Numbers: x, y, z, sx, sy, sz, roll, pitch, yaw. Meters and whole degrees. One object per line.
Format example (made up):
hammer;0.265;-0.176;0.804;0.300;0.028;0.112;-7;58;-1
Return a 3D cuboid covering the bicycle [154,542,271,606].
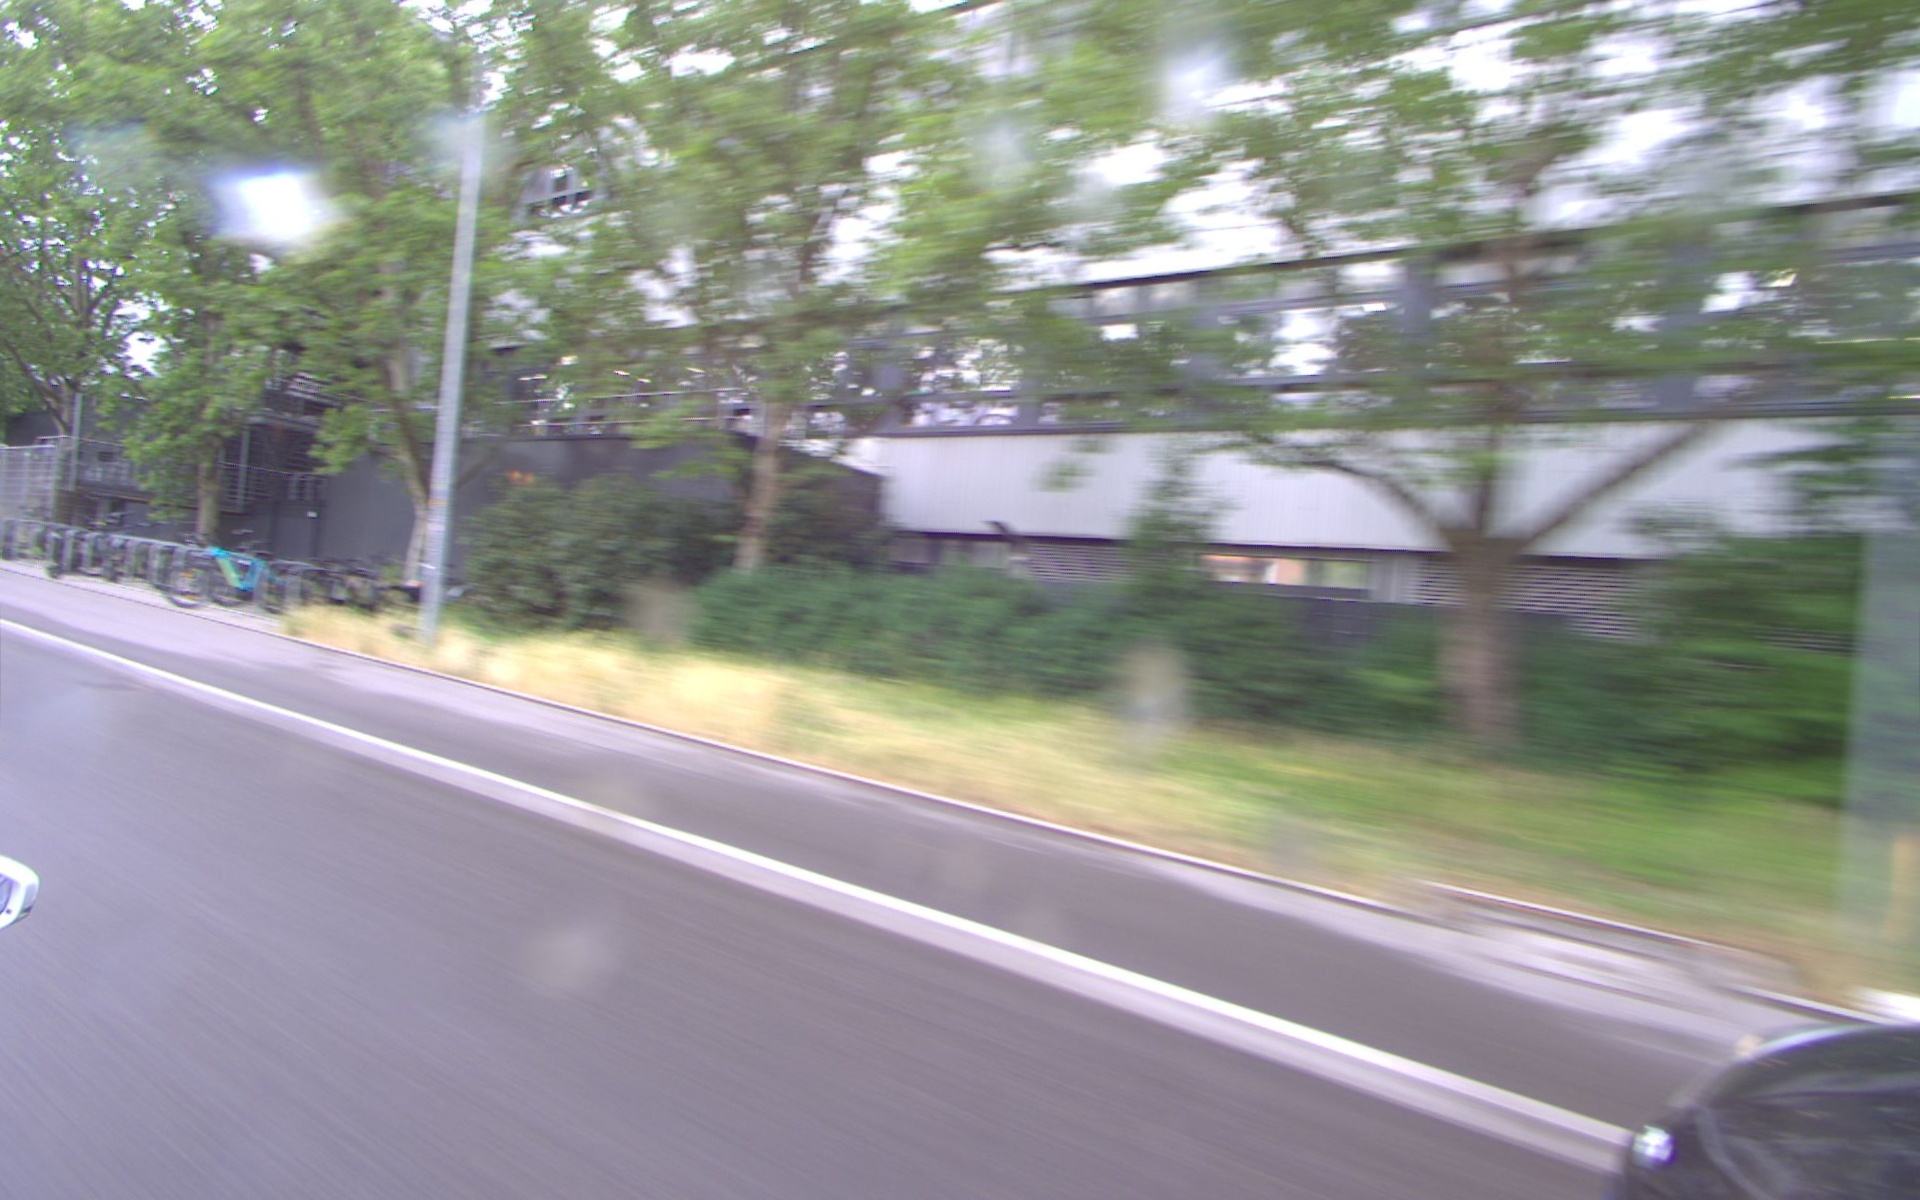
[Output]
bicycle;-13.060;-0.439;17.614;0.387;0.970;1.553;7;1;31

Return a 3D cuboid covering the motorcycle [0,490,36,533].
motorcycle;-34.187;-3.219;35.655;0.497;1.380;1.934;6;-2;26

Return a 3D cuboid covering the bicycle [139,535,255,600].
bicycle;-13.581;-0.558;17.944;0.387;1.018;1.553;7;1;31

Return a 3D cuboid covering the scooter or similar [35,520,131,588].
scooter or similar;-15.725;-0.811;18.058;0.307;1.105;1.215;7;1;27

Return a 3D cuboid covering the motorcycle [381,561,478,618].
motorcycle;-10.658;-0.194;20.251;0.567;1.014;1.609;6;1;31

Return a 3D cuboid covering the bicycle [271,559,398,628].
bicycle;-9.592;-0.077;15.490;0.381;0.951;1.609;6;1;31

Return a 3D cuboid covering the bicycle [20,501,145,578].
bicycle;-17.793;-1.207;20.457;0.439;1.365;1.863;6;1;19

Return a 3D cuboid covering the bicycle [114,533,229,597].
bicycle;-14.307;-0.619;18.298;0.387;1.018;1.553;7;1;31

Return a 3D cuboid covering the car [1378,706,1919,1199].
car;2.956;1.165;0.966;4.564;1.487;1.747;6;-1;31

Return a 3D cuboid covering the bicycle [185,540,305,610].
bicycle;-11.957;-0.400;16.873;0.387;1.018;1.553;7;1;31

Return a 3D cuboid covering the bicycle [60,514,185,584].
bicycle;-16.275;-0.967;19.602;0.440;1.182;1.792;6;1;25

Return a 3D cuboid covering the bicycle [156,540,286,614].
bicycle;-11.509;-0.339;15.715;0.387;1.018;1.553;7;1;31

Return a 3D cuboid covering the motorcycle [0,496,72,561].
motorcycle;-20.939;-1.611;22.152;0.435;1.289;2.003;7;1;43

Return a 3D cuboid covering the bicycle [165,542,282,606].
bicycle;-12.700;-0.432;17.398;0.387;0.970;1.553;7;1;31

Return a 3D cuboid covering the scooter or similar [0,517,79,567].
scooter or similar;-19.778;-1.233;21.459;0.359;0.948;1.478;6;0;14
